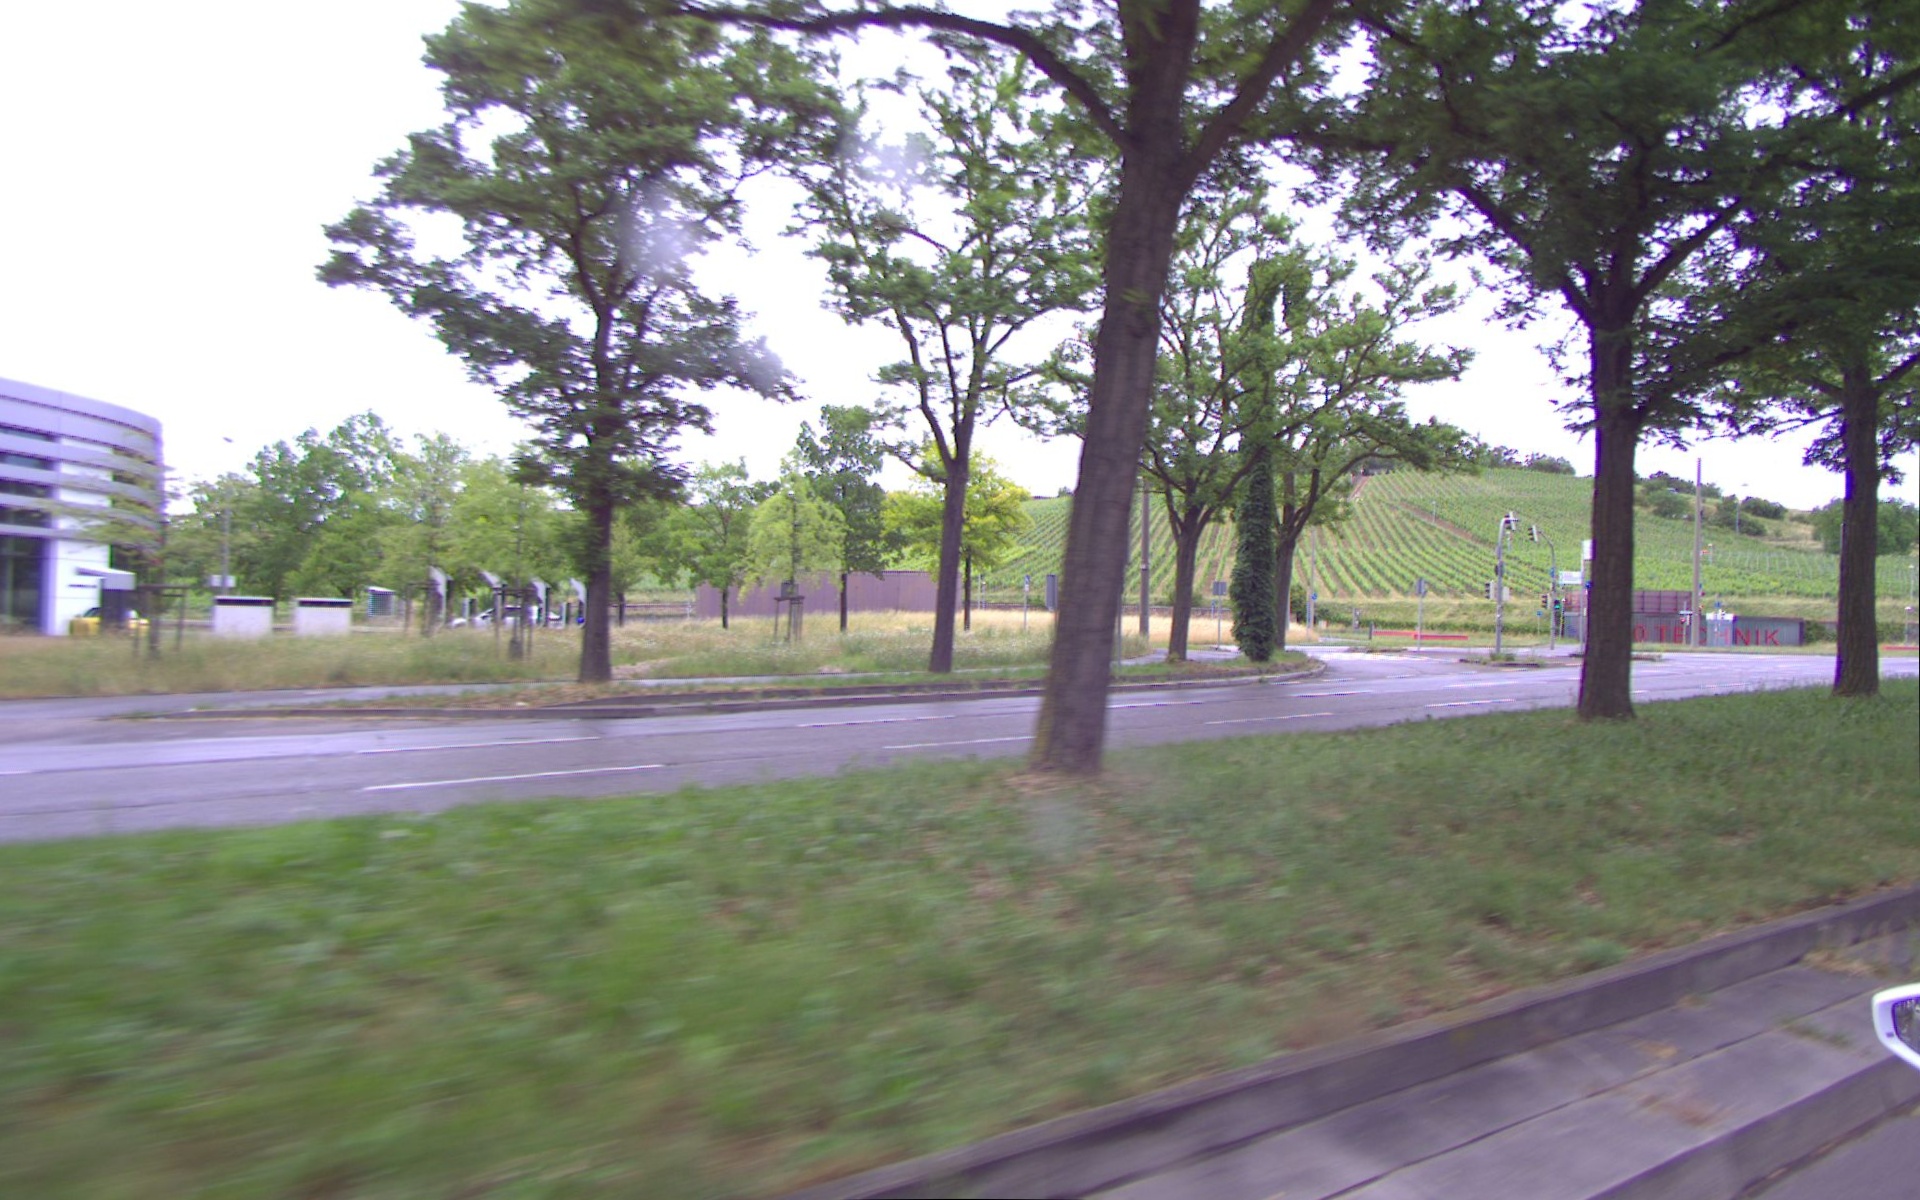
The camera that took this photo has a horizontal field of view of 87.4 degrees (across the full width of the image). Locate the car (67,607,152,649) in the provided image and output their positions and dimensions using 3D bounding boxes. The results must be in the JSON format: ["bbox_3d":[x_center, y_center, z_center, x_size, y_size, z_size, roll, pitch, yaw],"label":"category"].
[{"bbox_3d":[-31.852,1.028,37.591,3.936,1.341,1.614,3,1,37],"label":"car"}]

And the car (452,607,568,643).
[{"bbox_3d":[-18.003,0.993,40.333,3.927,1.261,1.617,2,1,-9],"label":"car"}]
